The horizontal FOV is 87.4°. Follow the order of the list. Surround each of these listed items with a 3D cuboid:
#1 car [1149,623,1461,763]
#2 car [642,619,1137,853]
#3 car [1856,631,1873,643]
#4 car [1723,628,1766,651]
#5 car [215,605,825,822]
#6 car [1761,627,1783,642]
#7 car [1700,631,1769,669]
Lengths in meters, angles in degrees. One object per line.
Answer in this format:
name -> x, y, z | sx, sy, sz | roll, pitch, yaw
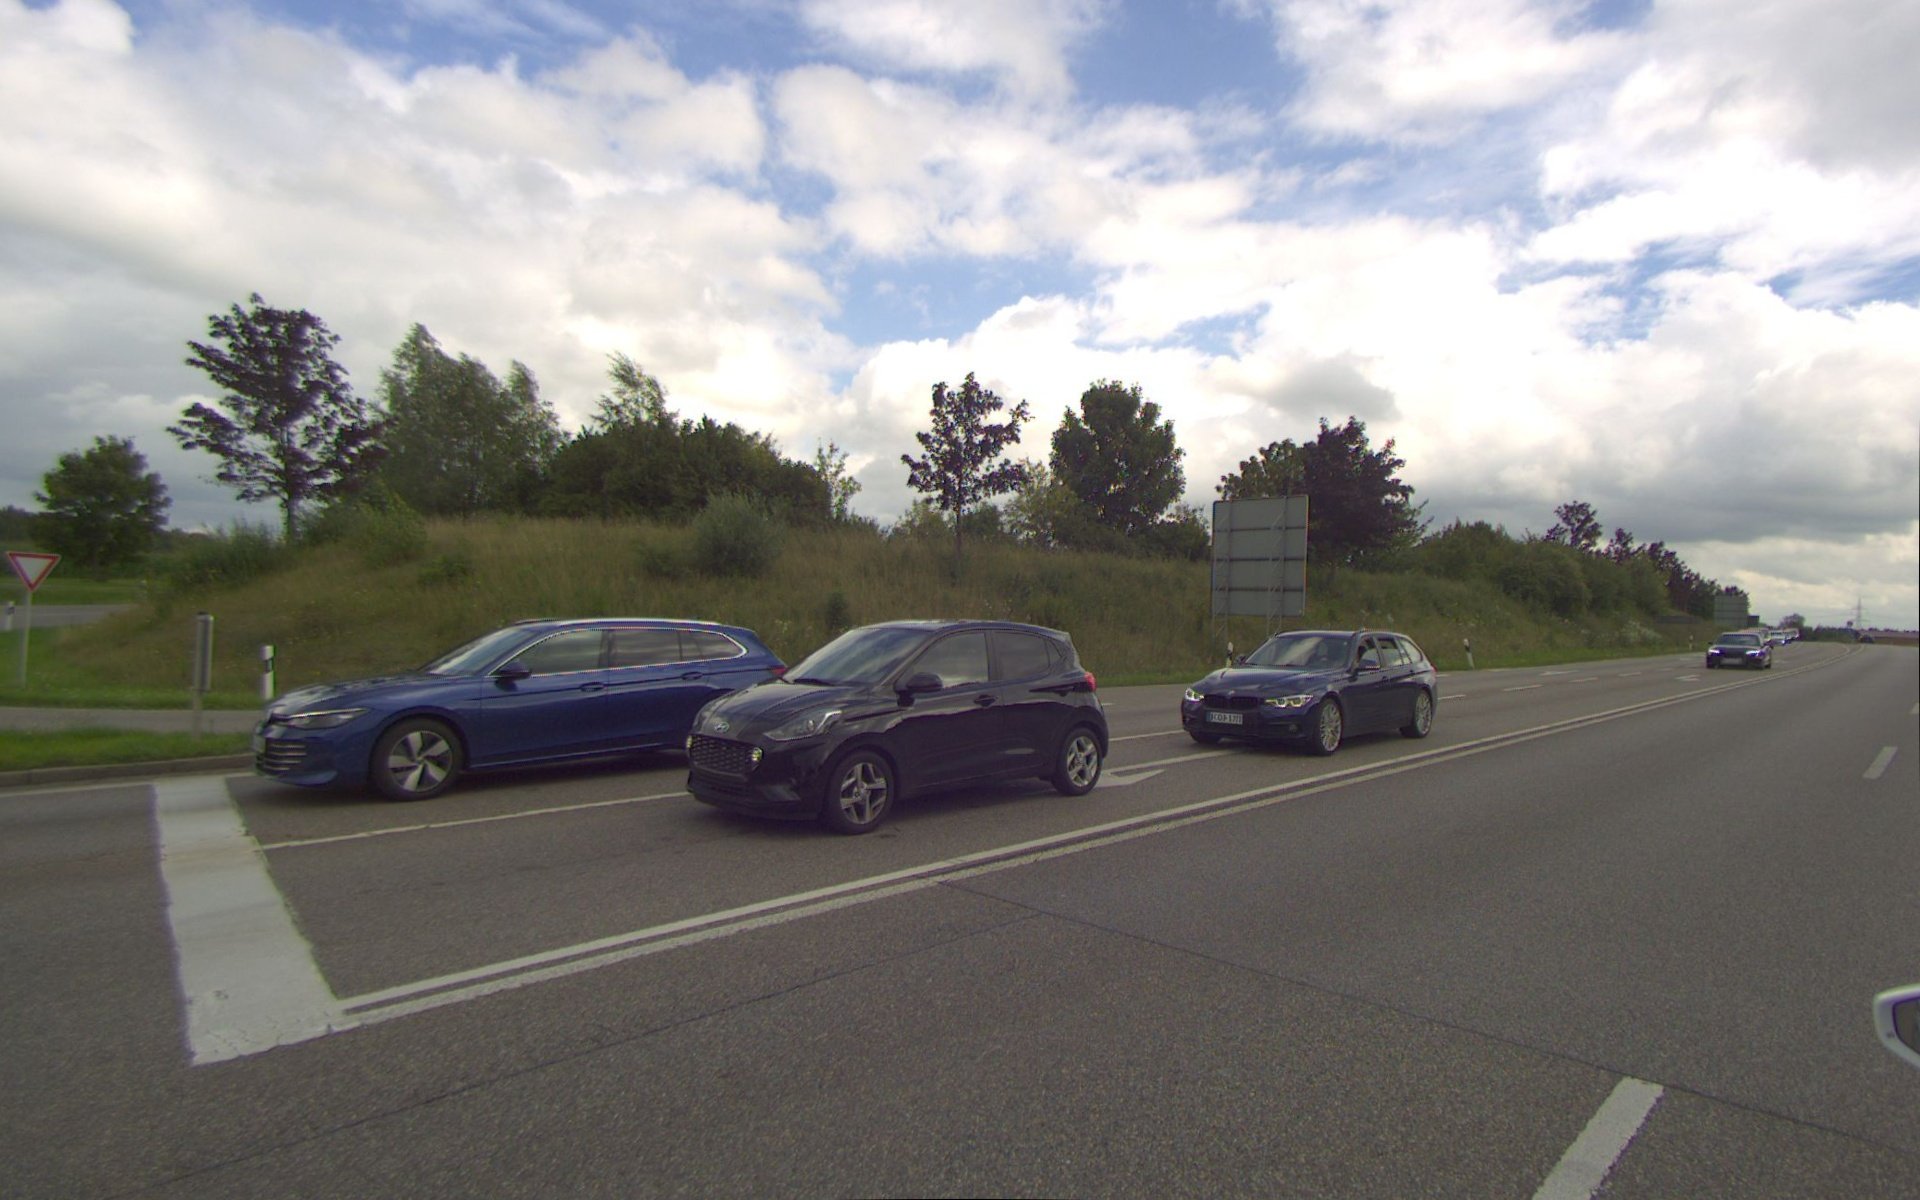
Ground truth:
car -> 4.715, 1.069, 13.282 | 2.028, 1.503, 4.851 | -1, -2, 45
car -> -0.403, 0.909, 8.329 | 3.917, 1.462, 1.709 | 1, -1, -44
car -> 144.101, 5.912, 160.020 | 1.972, 1.738, 3.977 | 0, -1, 43
car -> 53.232, 2.656, 68.159 | 1.971, 1.514, 4.966 | 0, -1, 42
car -> -3.957, 0.880, 9.827 | 2.024, 1.555, 5.096 | 0, -1, 44
car -> 82.428, 3.466, 101.980 | 1.648, 1.461, 4.127 | 0, -1, 40
car -> 31.068, 1.970, 40.251 | 1.746, 1.401, 4.517 | 0, -1, 43
